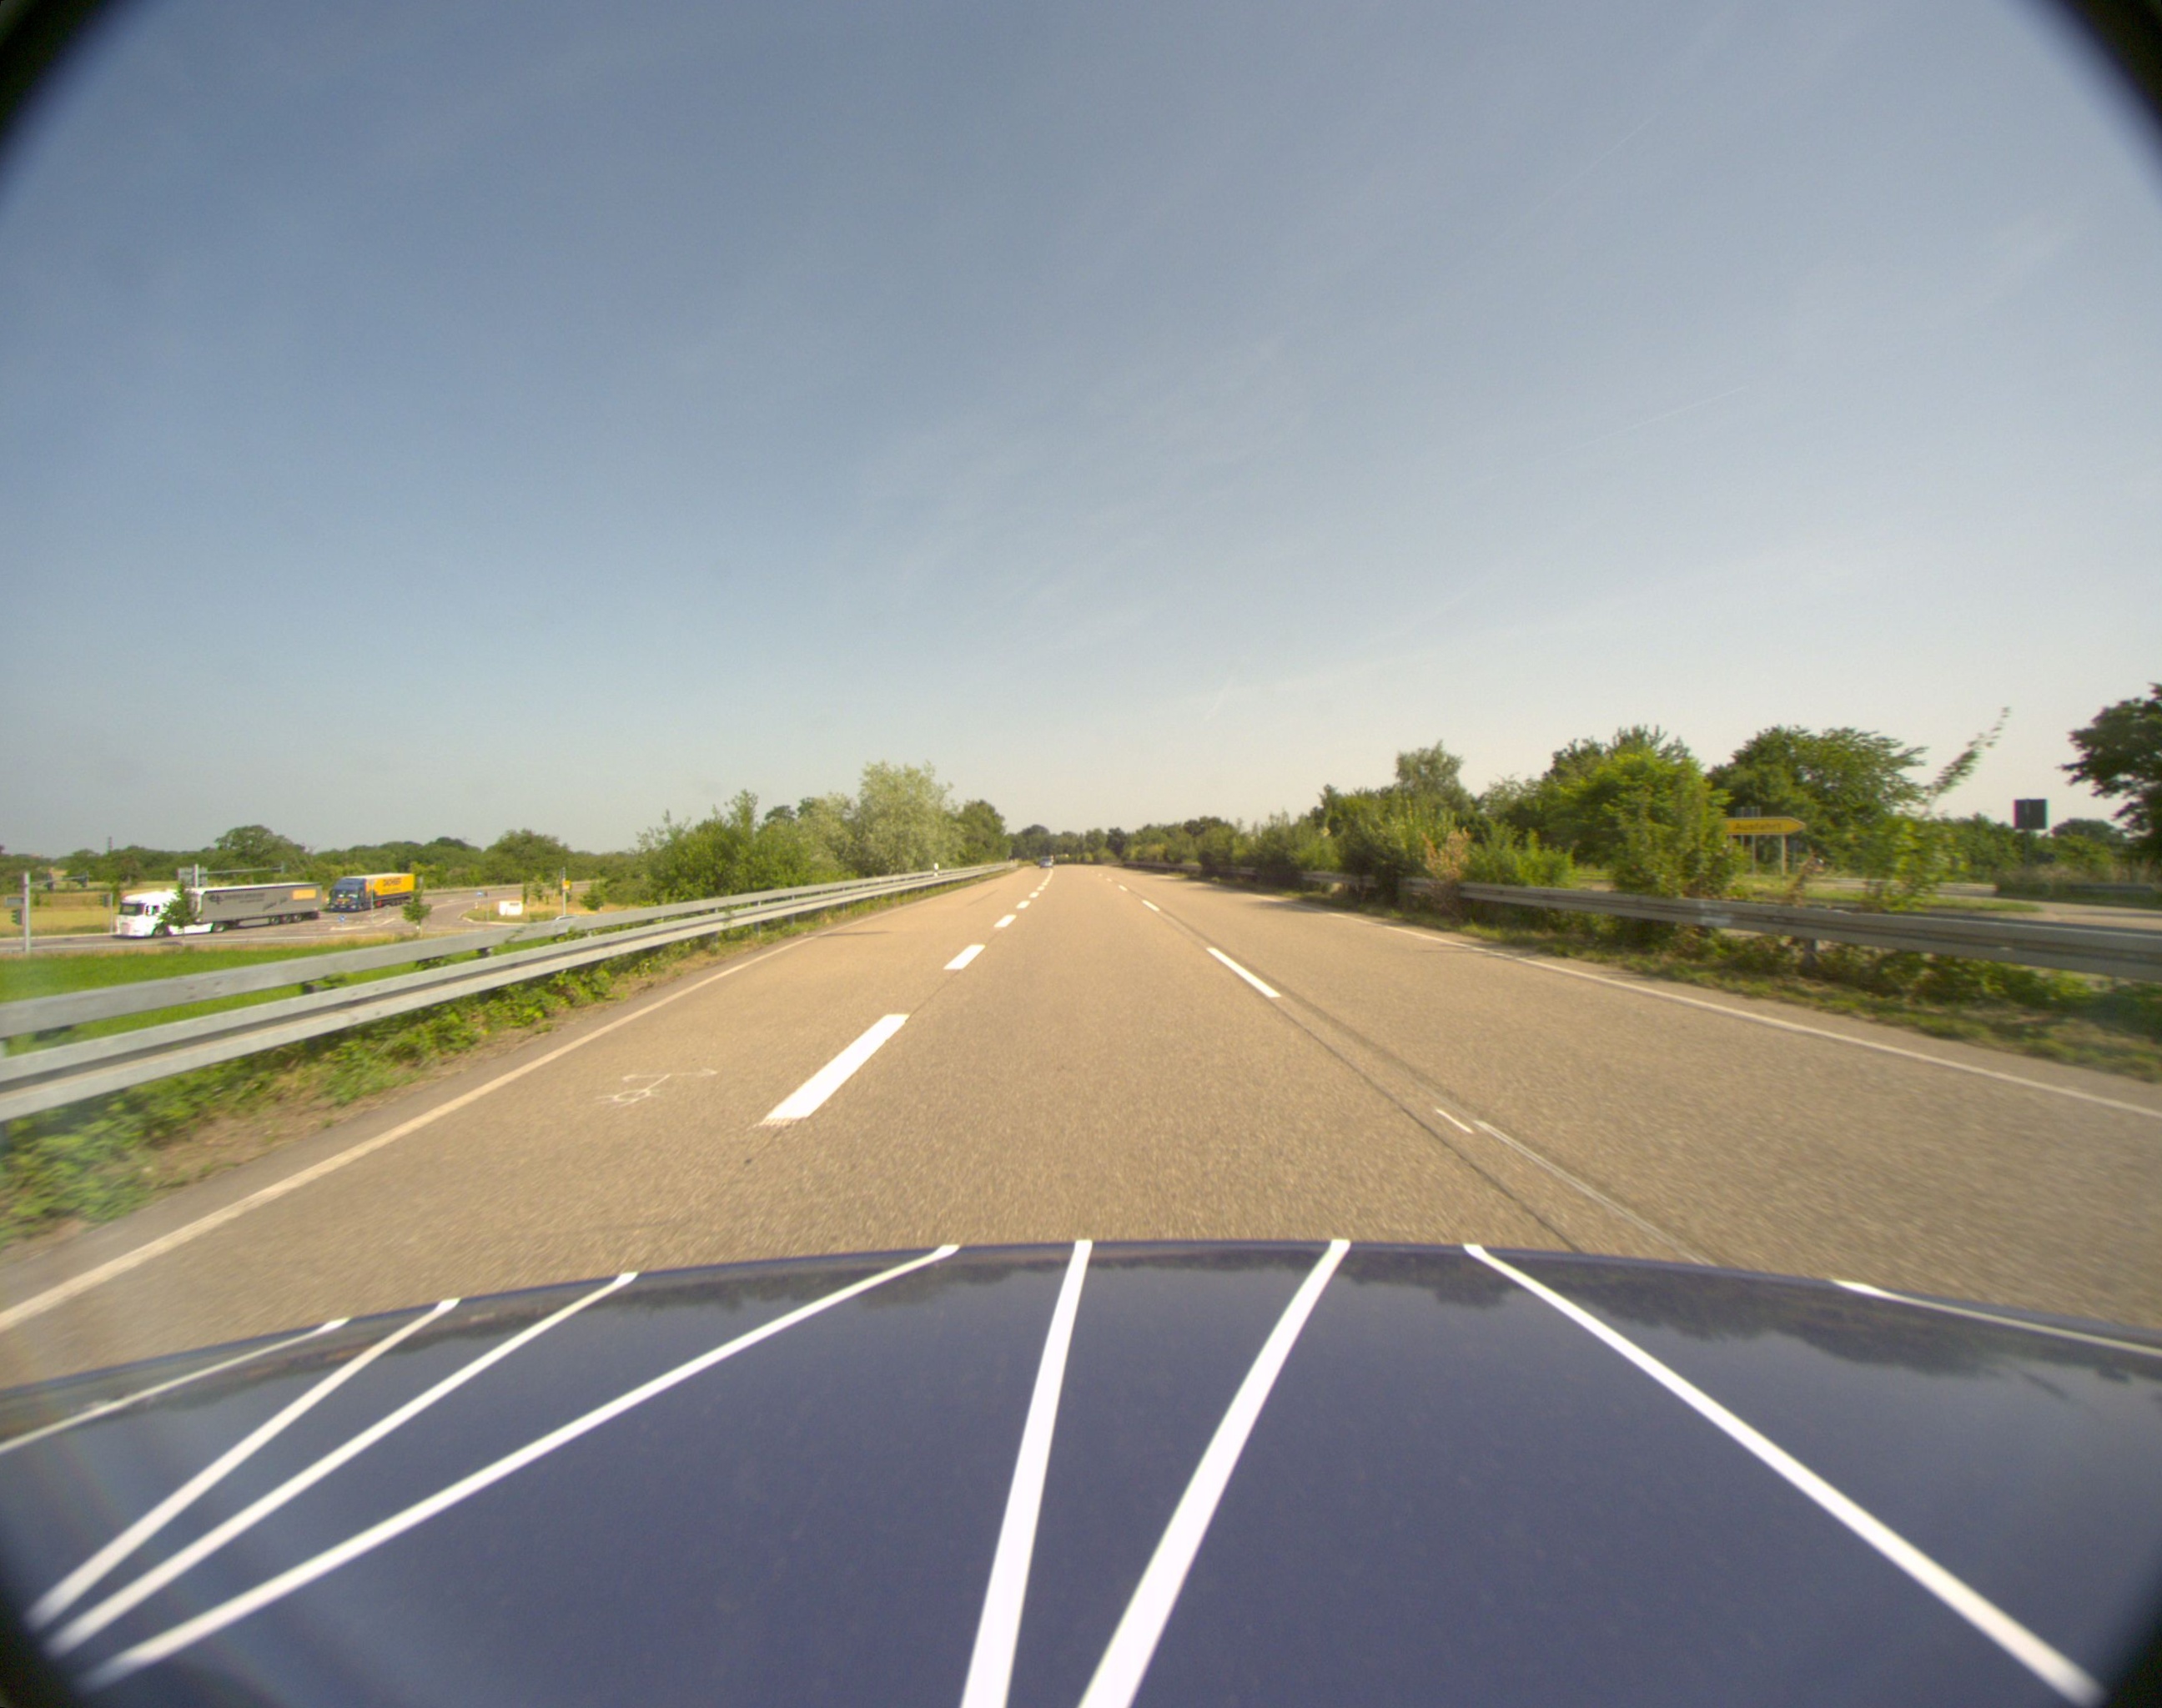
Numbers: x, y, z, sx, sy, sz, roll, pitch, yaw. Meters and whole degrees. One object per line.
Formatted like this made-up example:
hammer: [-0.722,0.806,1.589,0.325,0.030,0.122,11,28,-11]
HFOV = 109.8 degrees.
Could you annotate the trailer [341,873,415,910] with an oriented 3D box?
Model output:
trailer: [-89.791,4.642,97.451,2.265,4.145,14.396,-1,0,-24]

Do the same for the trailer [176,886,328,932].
trailer: [-80.696,5.190,74.606,2.109,3.631,13.918,-1,0,-11]

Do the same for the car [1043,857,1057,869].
car: [-4.332,1.270,104.819,1.703,1.474,3.599,-3,-1,-4]

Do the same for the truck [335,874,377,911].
truck: [-87.134,4.602,91.397,2.265,4.145,4.363,-1,0,-24]

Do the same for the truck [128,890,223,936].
truck: [-80.161,5.150,67.359,2.104,3.656,4.950,-1,0,18]
